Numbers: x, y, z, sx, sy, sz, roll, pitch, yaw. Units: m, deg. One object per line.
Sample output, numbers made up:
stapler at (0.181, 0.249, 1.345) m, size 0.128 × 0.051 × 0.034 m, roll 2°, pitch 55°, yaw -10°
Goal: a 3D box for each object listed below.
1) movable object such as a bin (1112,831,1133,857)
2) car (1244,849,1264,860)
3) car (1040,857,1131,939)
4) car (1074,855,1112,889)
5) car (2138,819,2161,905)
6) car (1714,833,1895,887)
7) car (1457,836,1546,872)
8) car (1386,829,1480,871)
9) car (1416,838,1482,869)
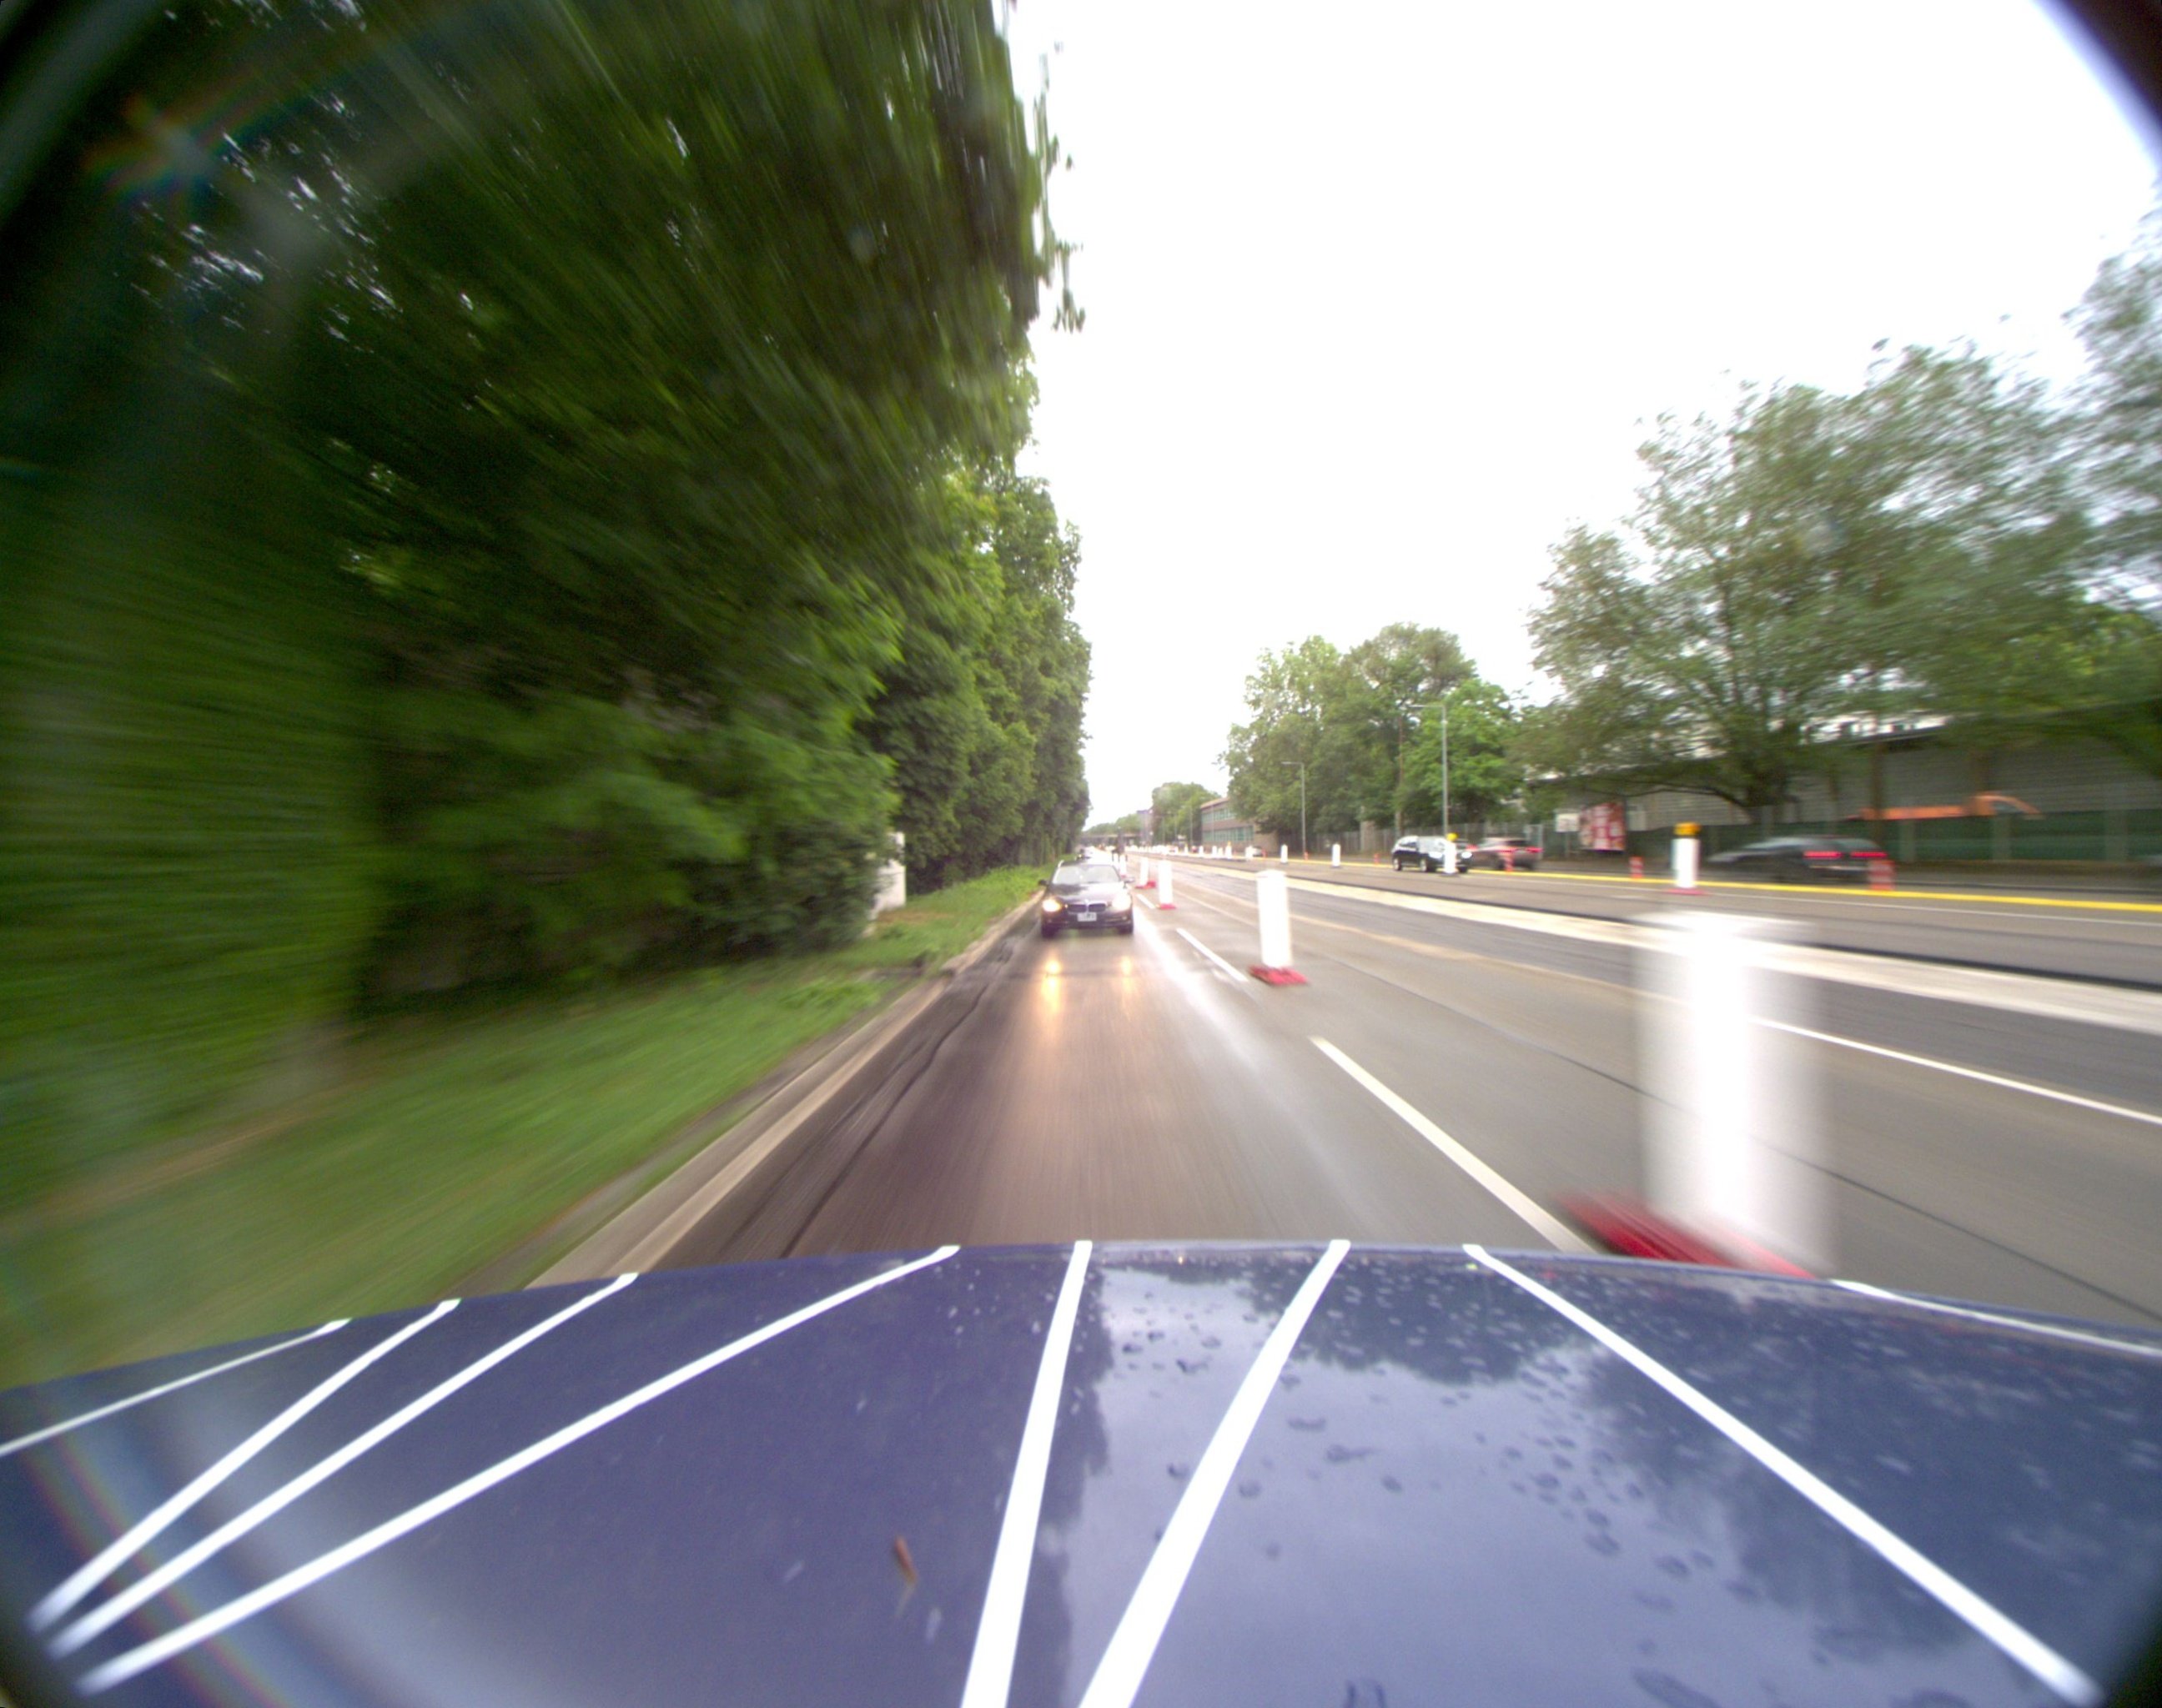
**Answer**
movable object such as a bin at (5.092, -1.239, 94.313) m, size 1.999 × 3.084 × 5.622 m, roll -2°, pitch 1°, yaw -2°
car at (22.012, 0.066, 96.856) m, size 1.671 × 1.308 × 4.454 m, roll 0°, pitch 1°, yaw 1°
car at (0.122, 0.868, 17.131) m, size 1.742 × 1.454 × 4.457 m, roll -2°, pitch 1°, yaw 1°
car at (0.609, 0.850, 38.369) m, size 1.742 × 1.454 × 4.457 m, roll -2°, pitch 1°, yaw 1°
car at (21.274, 0.179, 12.443) m, size 1.863 × 1.620 × 4.328 m, roll 0°, pitch 1°, yaw 1°
car at (21.459, 0.133, 22.782) m, size 1.863 × 1.467 × 3.731 m, roll 0°, pitch 1°, yaw 1°
car at (20.052, -0.042, 36.465) m, size 1.863 × 1.610 × 4.364 m, roll 0°, pitch 1°, yaw 1°
car at (15.663, -0.152, 34.134) m, size 1.998 × 1.696 × 4.984 m, roll 1°, pitch 0°, yaw 2°
car at (21.803, -0.060, 45.230) m, size 1.863 × 1.696 × 4.364 m, roll 0°, pitch 1°, yaw 1°
